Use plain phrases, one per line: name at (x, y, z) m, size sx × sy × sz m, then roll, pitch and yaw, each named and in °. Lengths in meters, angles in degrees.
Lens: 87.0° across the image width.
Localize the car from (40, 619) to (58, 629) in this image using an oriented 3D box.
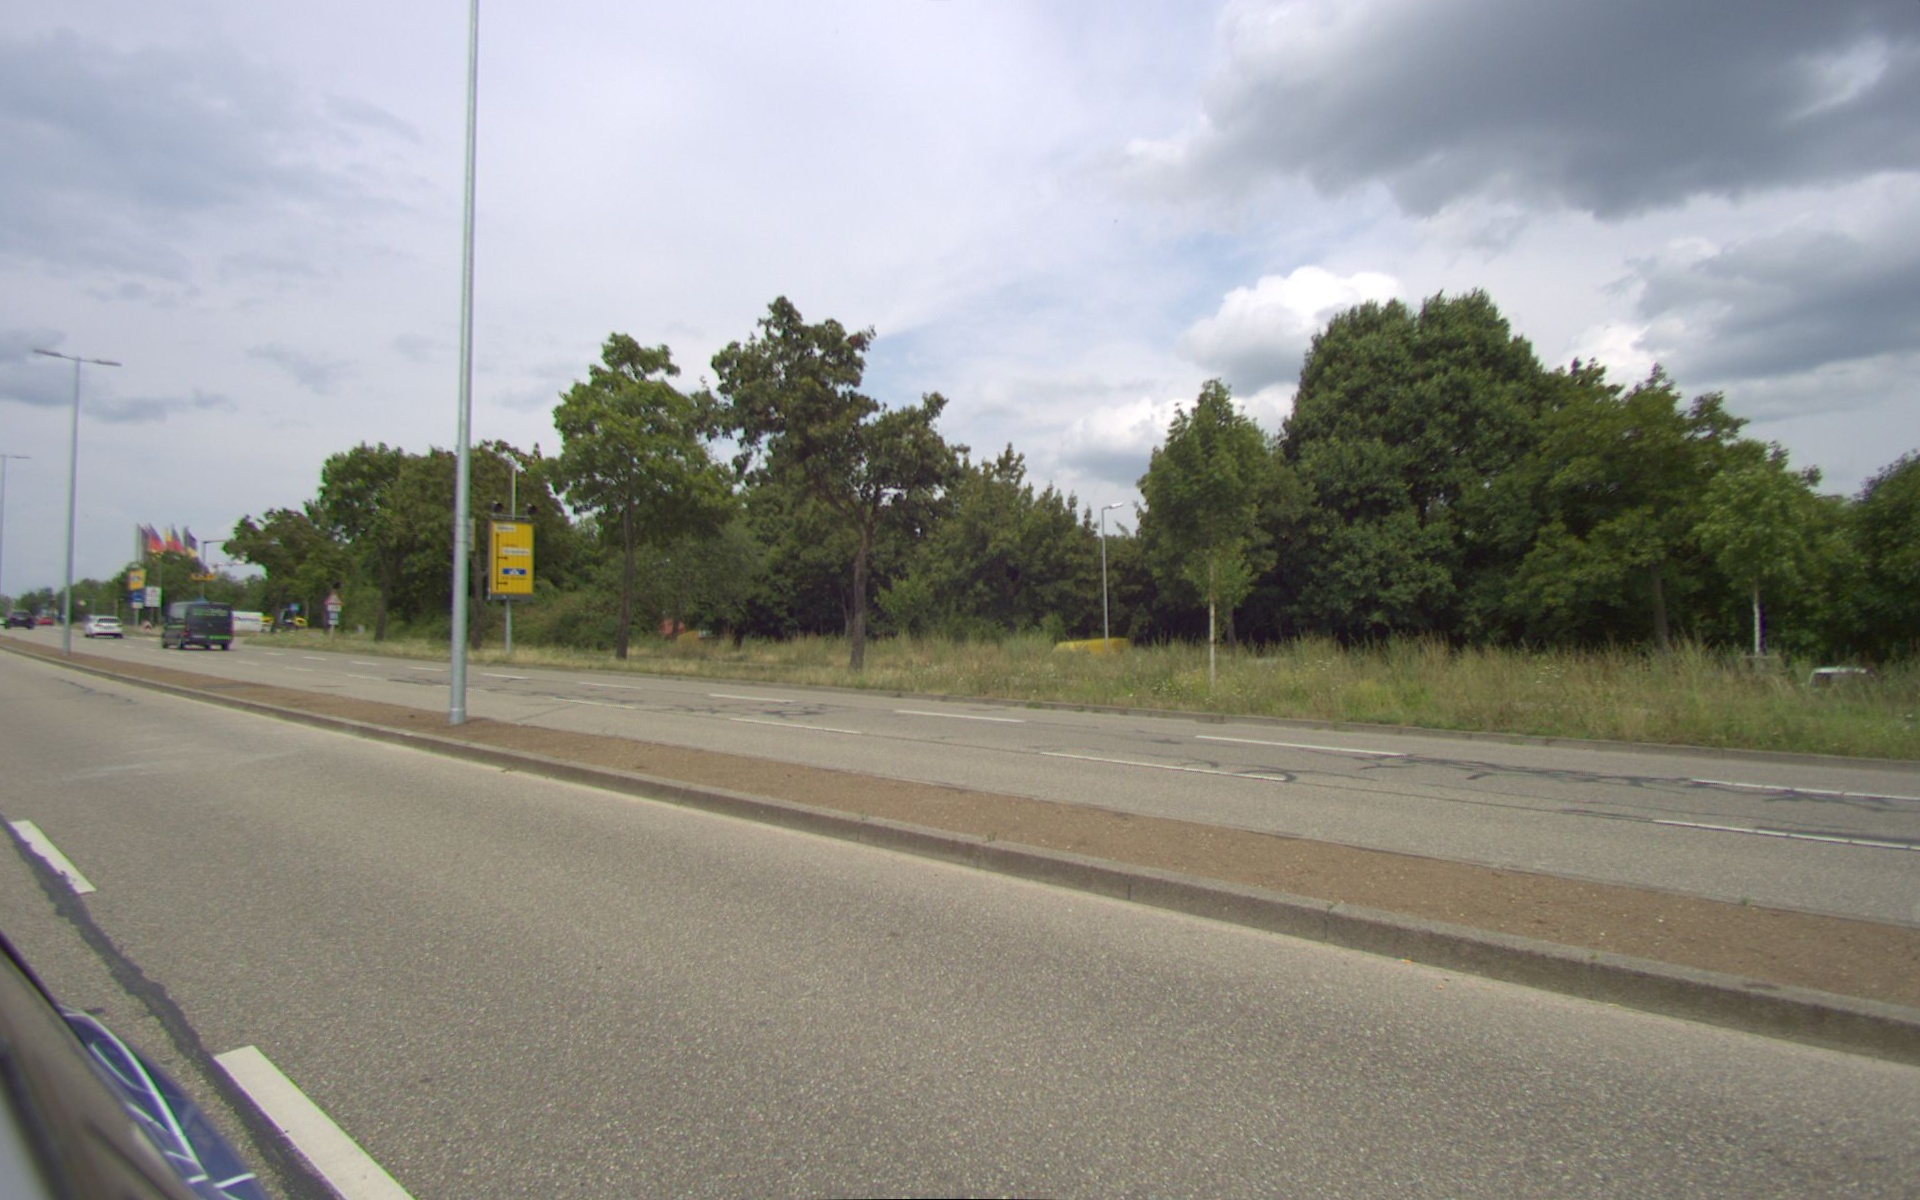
car at (-135.879, 3.560, 150.973) m, size 1.734 × 1.332 × 4.348 m, roll 1°, pitch -3°, yaw -45°

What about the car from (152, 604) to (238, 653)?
car at (-37.262, 1.417, 49.230) m, size 6.000 × 2.218 × 2.073 m, roll -2°, pitch -3°, yaw 41°

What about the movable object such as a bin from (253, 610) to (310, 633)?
movable object such as a bin at (-71.430, 2.282, 106.587) m, size 1.994 × 2.415 × 4.541 m, roll -2°, pitch -2°, yaw 33°

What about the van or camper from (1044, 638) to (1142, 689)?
van or camper at (6.069, 2.810, 45.856) m, size 4.298 × 2.029 × 2.004 m, roll -1°, pitch 0°, yaw -40°

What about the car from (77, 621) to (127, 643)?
car at (-57.840, 2.156, 68.189) m, size 4.688 × 1.442 × 1.972 m, roll -2°, pitch -3°, yaw 43°

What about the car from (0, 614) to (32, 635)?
car at (-90.182, 2.362, 96.524) m, size 4.795 × 1.825 × 1.972 m, roll -2°, pitch -4°, yaw 42°
